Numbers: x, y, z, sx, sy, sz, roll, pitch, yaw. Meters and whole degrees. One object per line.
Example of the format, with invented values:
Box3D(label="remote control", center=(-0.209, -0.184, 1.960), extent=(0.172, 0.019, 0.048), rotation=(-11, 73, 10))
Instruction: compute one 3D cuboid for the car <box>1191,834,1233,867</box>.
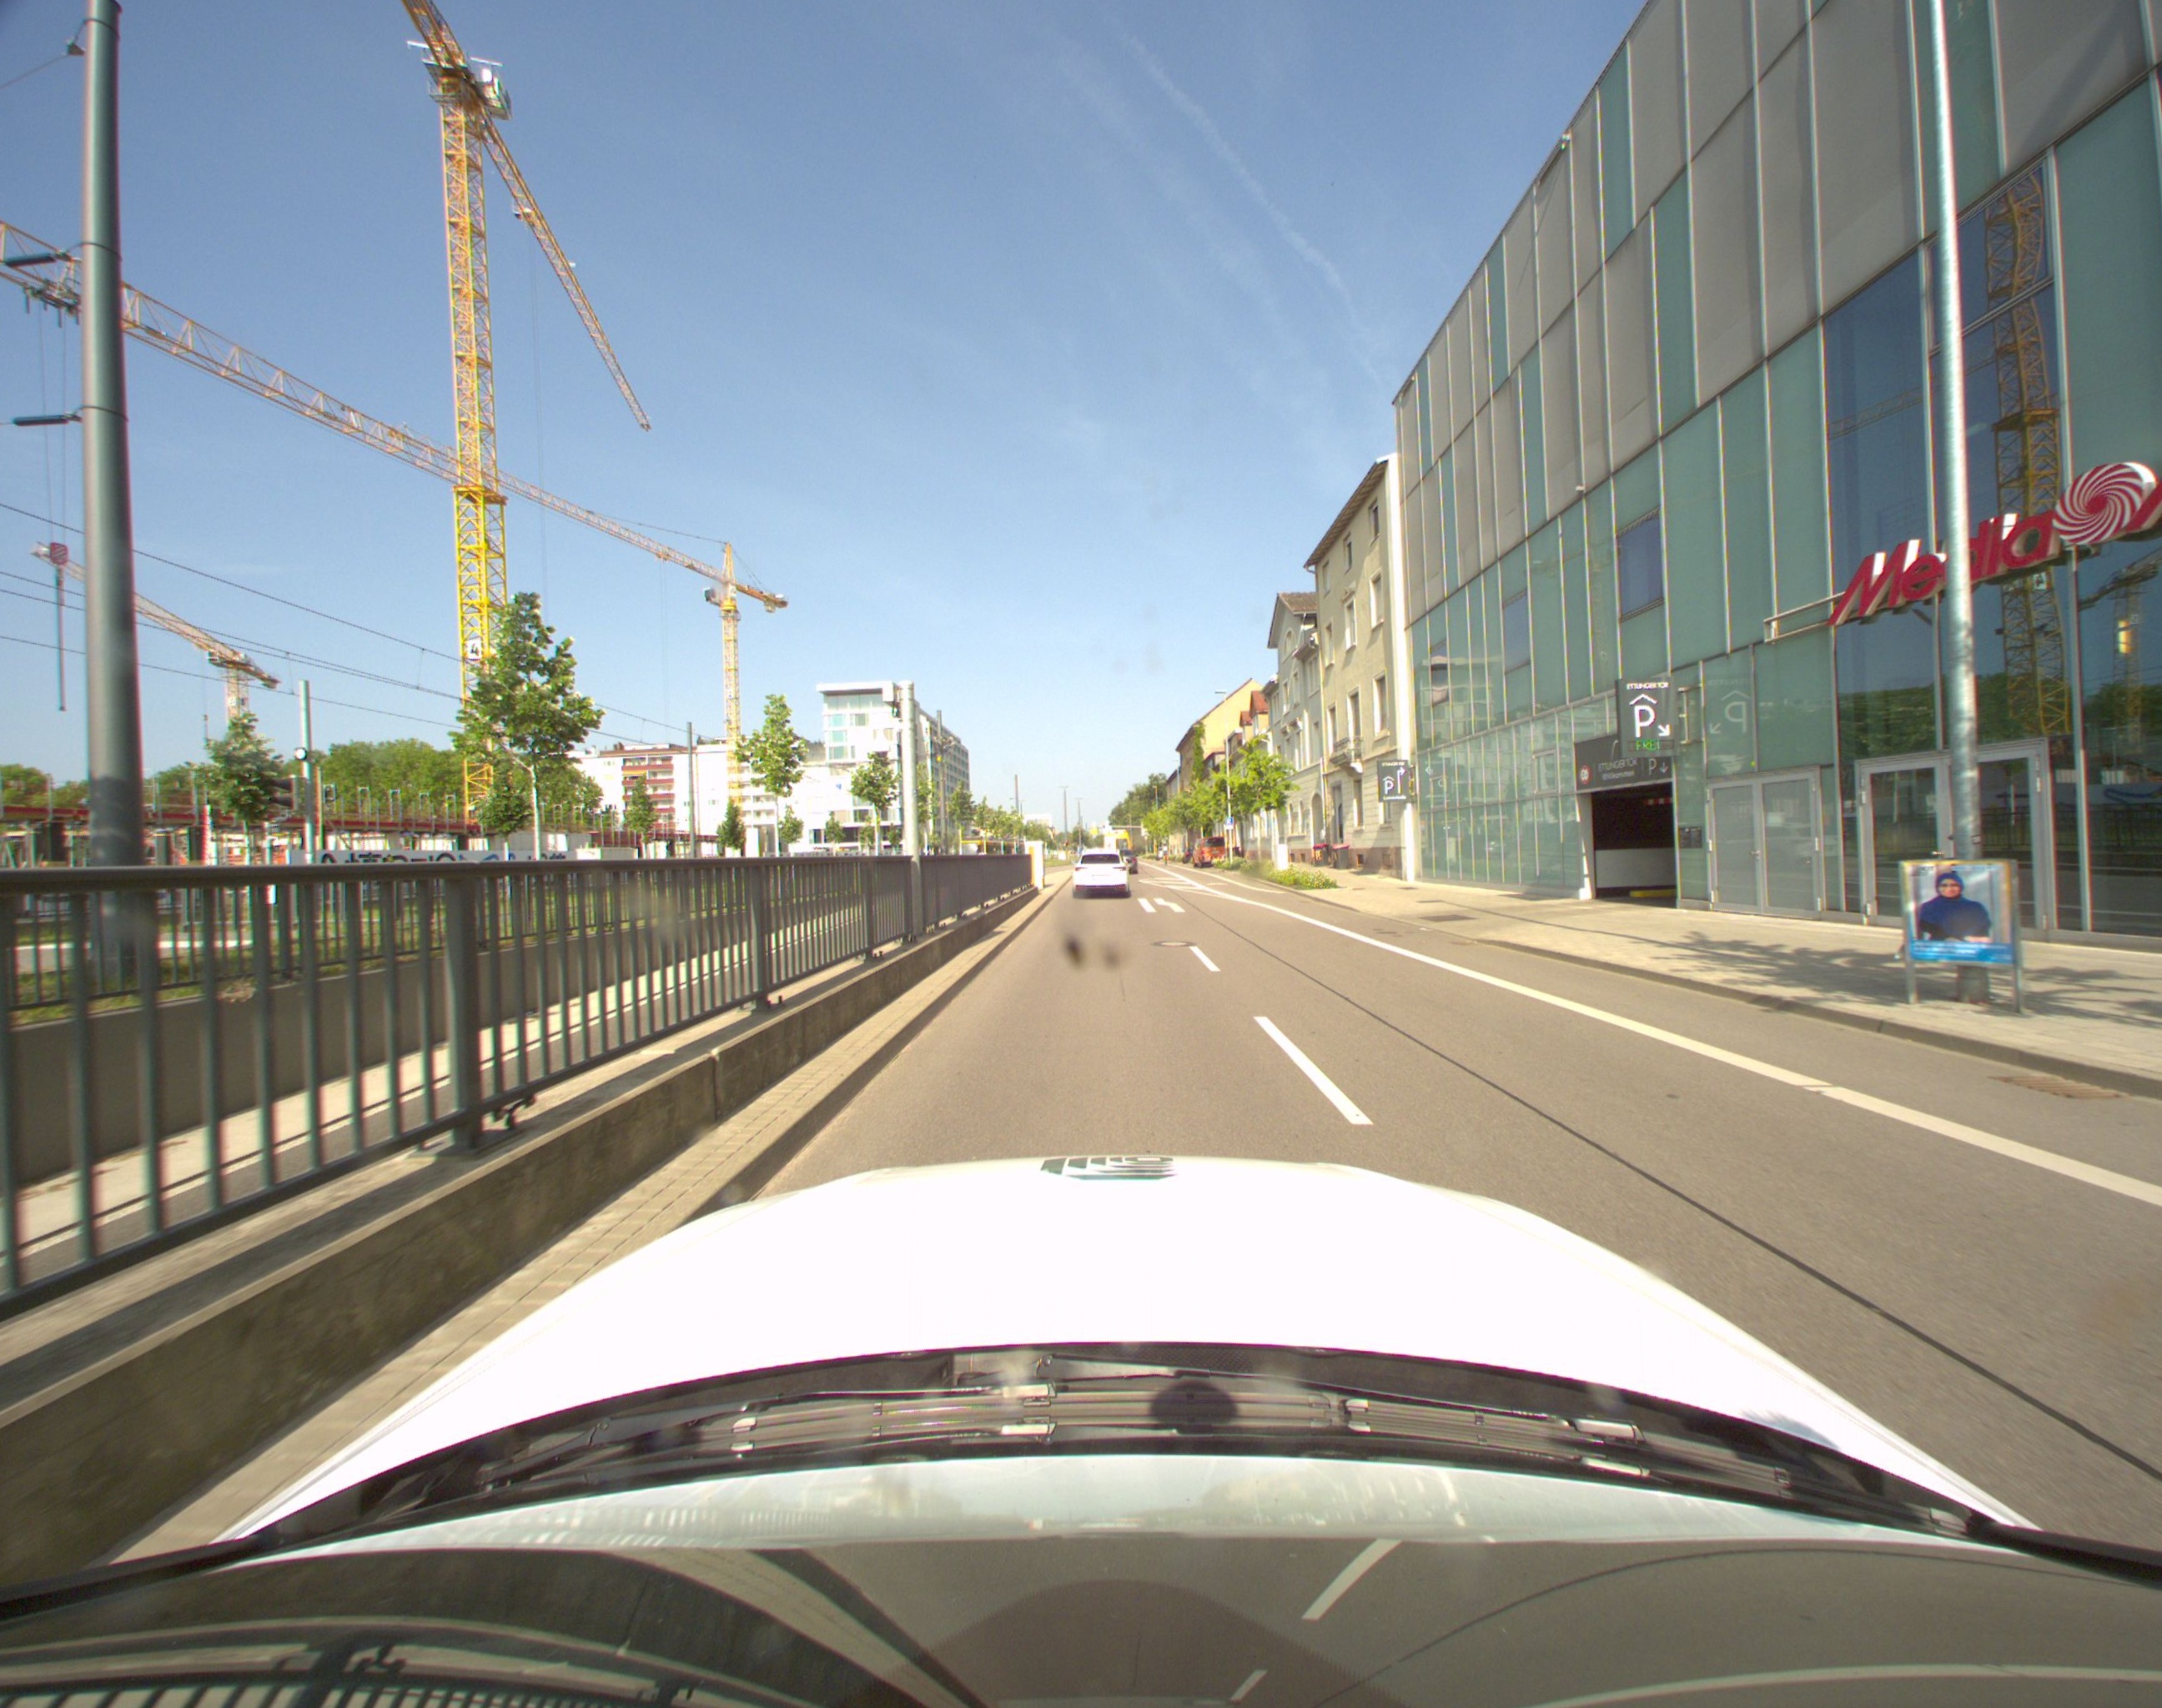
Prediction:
Box3D(label="car", center=(8.597, -0.266, 53.801), extent=(2.055, 2.013, 4.590), rotation=(-2, 1, 2))

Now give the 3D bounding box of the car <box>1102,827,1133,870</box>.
Box3D(label="car", center=(2.648, -0.462, 58.952), extent=(2.012, 2.795, 5.405), rotation=(-2, 2, 2))

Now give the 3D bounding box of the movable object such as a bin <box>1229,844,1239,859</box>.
Box3D(label="movable object such as a bin", center=(12.570, -0.206, 66.789), extent=(0.677, 1.200, 0.781), rotation=(-2, 0, 1))

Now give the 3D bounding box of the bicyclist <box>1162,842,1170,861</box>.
Box3D(label="bicyclist", center=(7.084, -0.204, 67.943), extent=(0.636, 1.577, 0.772), rotation=(-2, 0, 4))

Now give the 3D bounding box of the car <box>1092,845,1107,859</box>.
Box3D(label="car", center=(2.501, -0.258, 108.725), extent=(1.923, 1.821, 4.003), rotation=(-2, 0, 3))

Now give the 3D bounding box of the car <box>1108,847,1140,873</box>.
Box3D(label="car", center=(2.431, 0.307, 46.356), extent=(1.753, 1.436, 4.118), rotation=(0, 1, 2))

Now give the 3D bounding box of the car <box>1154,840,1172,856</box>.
Box3D(label="car", center=(9.765, -0.728, 97.487), extent=(1.806, 1.812, 3.837), rotation=(-2, 1, 2))

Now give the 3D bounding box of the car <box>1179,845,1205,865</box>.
Box3D(label="car", center=(9.113, 0.048, 67.136), extent=(1.667, 1.483, 4.314), rotation=(-4, 0, 2))

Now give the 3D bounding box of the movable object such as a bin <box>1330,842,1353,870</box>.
Box3D(label="movable object such as a bin", center=(11.561, 0.075, 36.160), extent=(0.778, 1.172, 0.808), rotation=(-2, 2, 1))

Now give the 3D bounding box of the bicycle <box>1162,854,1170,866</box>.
Box3D(label="bicycle", center=(7.096, 0.474, 68.066), extent=(0.652, 0.938, 1.519), rotation=(-2, 0, 4))

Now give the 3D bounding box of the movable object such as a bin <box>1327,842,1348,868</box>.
Box3D(label="movable object such as a bin", center=(11.692, 0.042, 37.128), extent=(0.702, 1.152, 0.671), rotation=(-2, 2, 1))

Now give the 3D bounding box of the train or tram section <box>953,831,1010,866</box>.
Box3D(label="train or tram section", center=(-11.310, -0.618, 95.433), extent=(2.892, 3.676, 18.162), rotation=(-1, 0, 5))

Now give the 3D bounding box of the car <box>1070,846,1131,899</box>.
Box3D(label="car", center=(0.690, 0.560, 27.312), extent=(1.862, 1.574, 4.002), rotation=(-2, 0, 2))

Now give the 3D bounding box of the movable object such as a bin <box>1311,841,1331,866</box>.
Box3D(label="movable object such as a bin", center=(11.664, -0.019, 39.582), extent=(0.674, 1.152, 0.610), rotation=(-4, 3, -42))
